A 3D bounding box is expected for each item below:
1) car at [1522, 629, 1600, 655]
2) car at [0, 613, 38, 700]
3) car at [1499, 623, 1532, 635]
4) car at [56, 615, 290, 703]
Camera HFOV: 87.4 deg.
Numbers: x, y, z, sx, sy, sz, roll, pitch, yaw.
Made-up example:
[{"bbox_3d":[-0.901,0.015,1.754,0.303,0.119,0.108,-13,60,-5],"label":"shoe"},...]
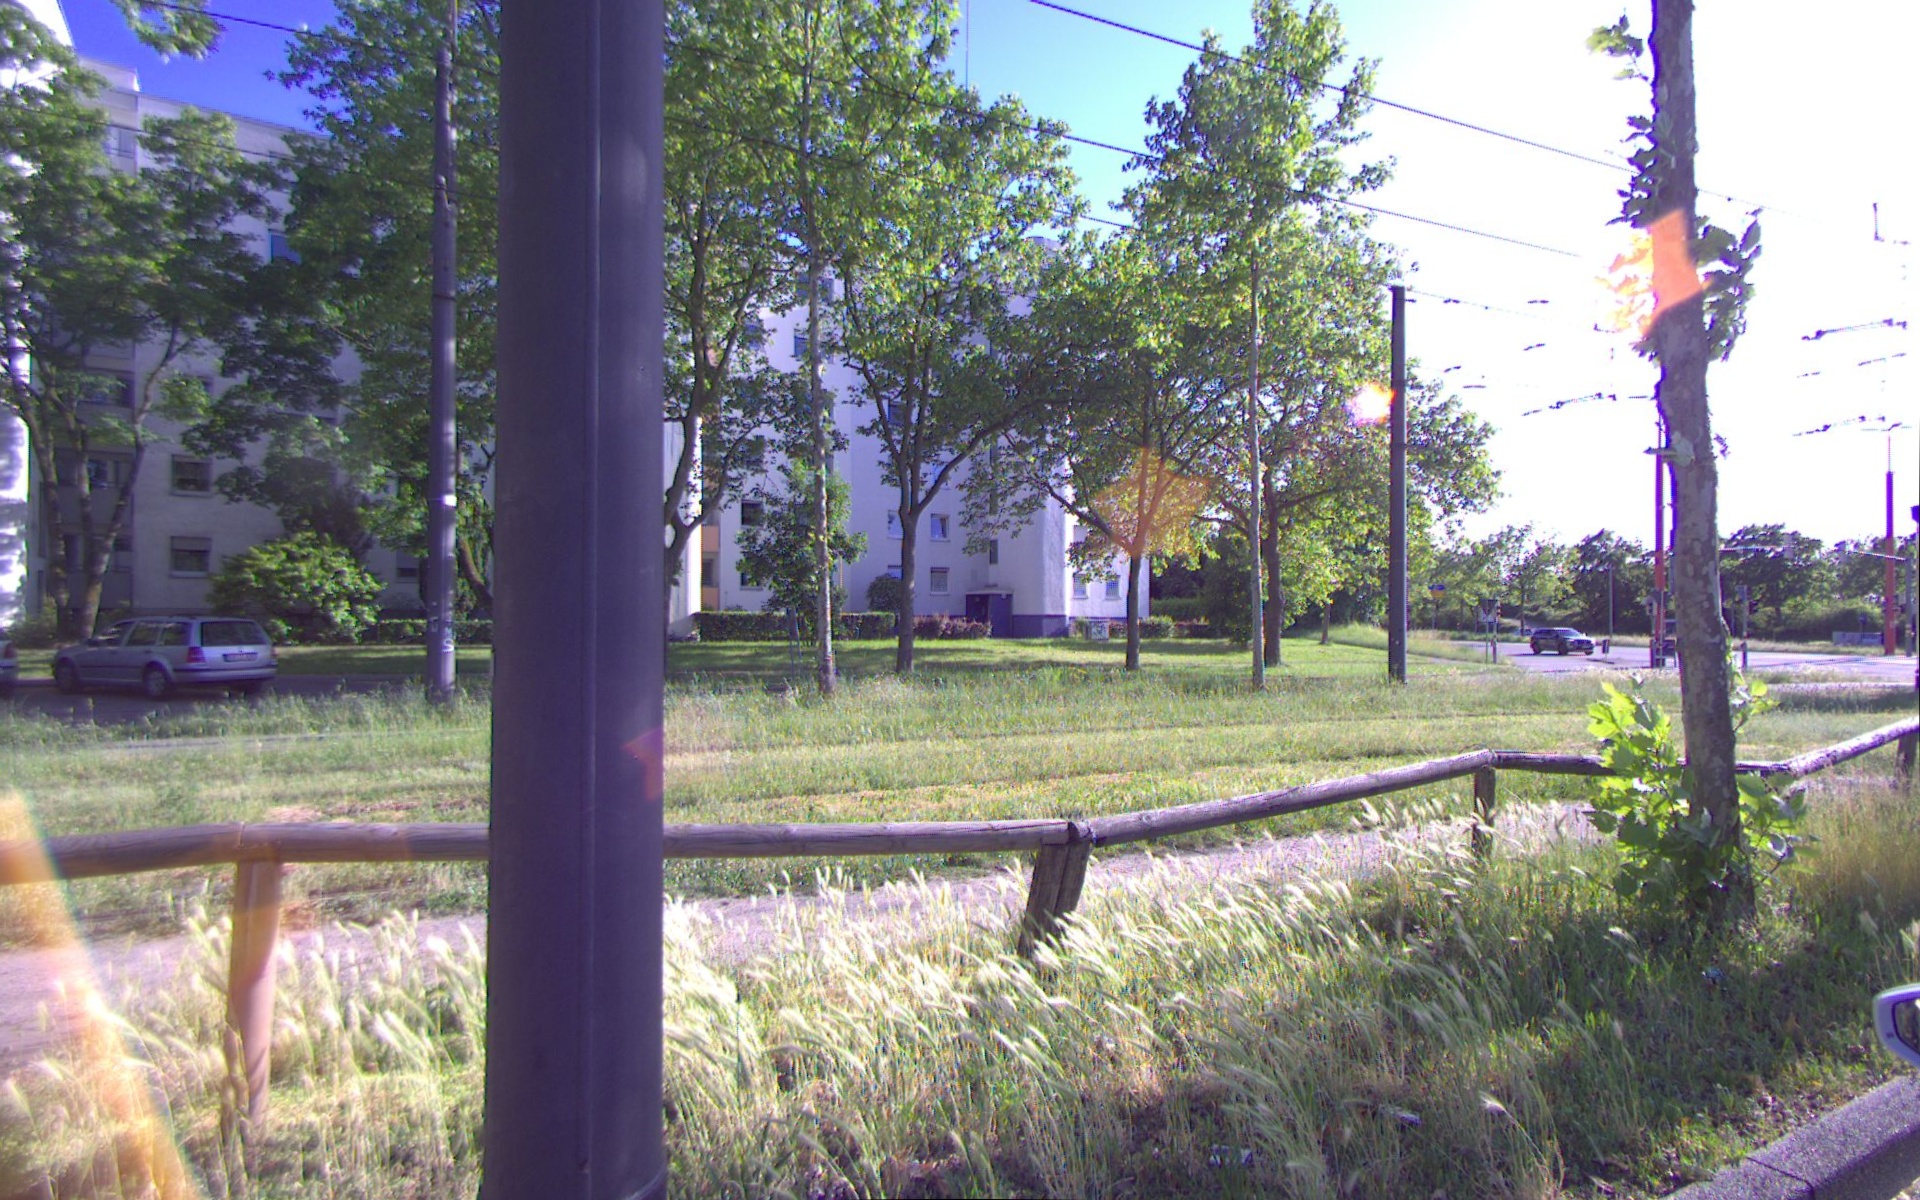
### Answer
[{"bbox_3d":[38.835,2.689,65.053,1.962,1.564,4.645,1,-1,-5],"label":"car"},{"bbox_3d":[-17.908,0.928,17.144,3.609,1.452,1.703,0,-1,20],"label":"car"},{"bbox_3d":[62.509,3.261,113.063,1.630,1.327,3.815,1,-1,-1],"label":"car"},{"bbox_3d":[-14.464,1.026,18.488,3.609,1.452,1.732,0,-1,20],"label":"car"}]
